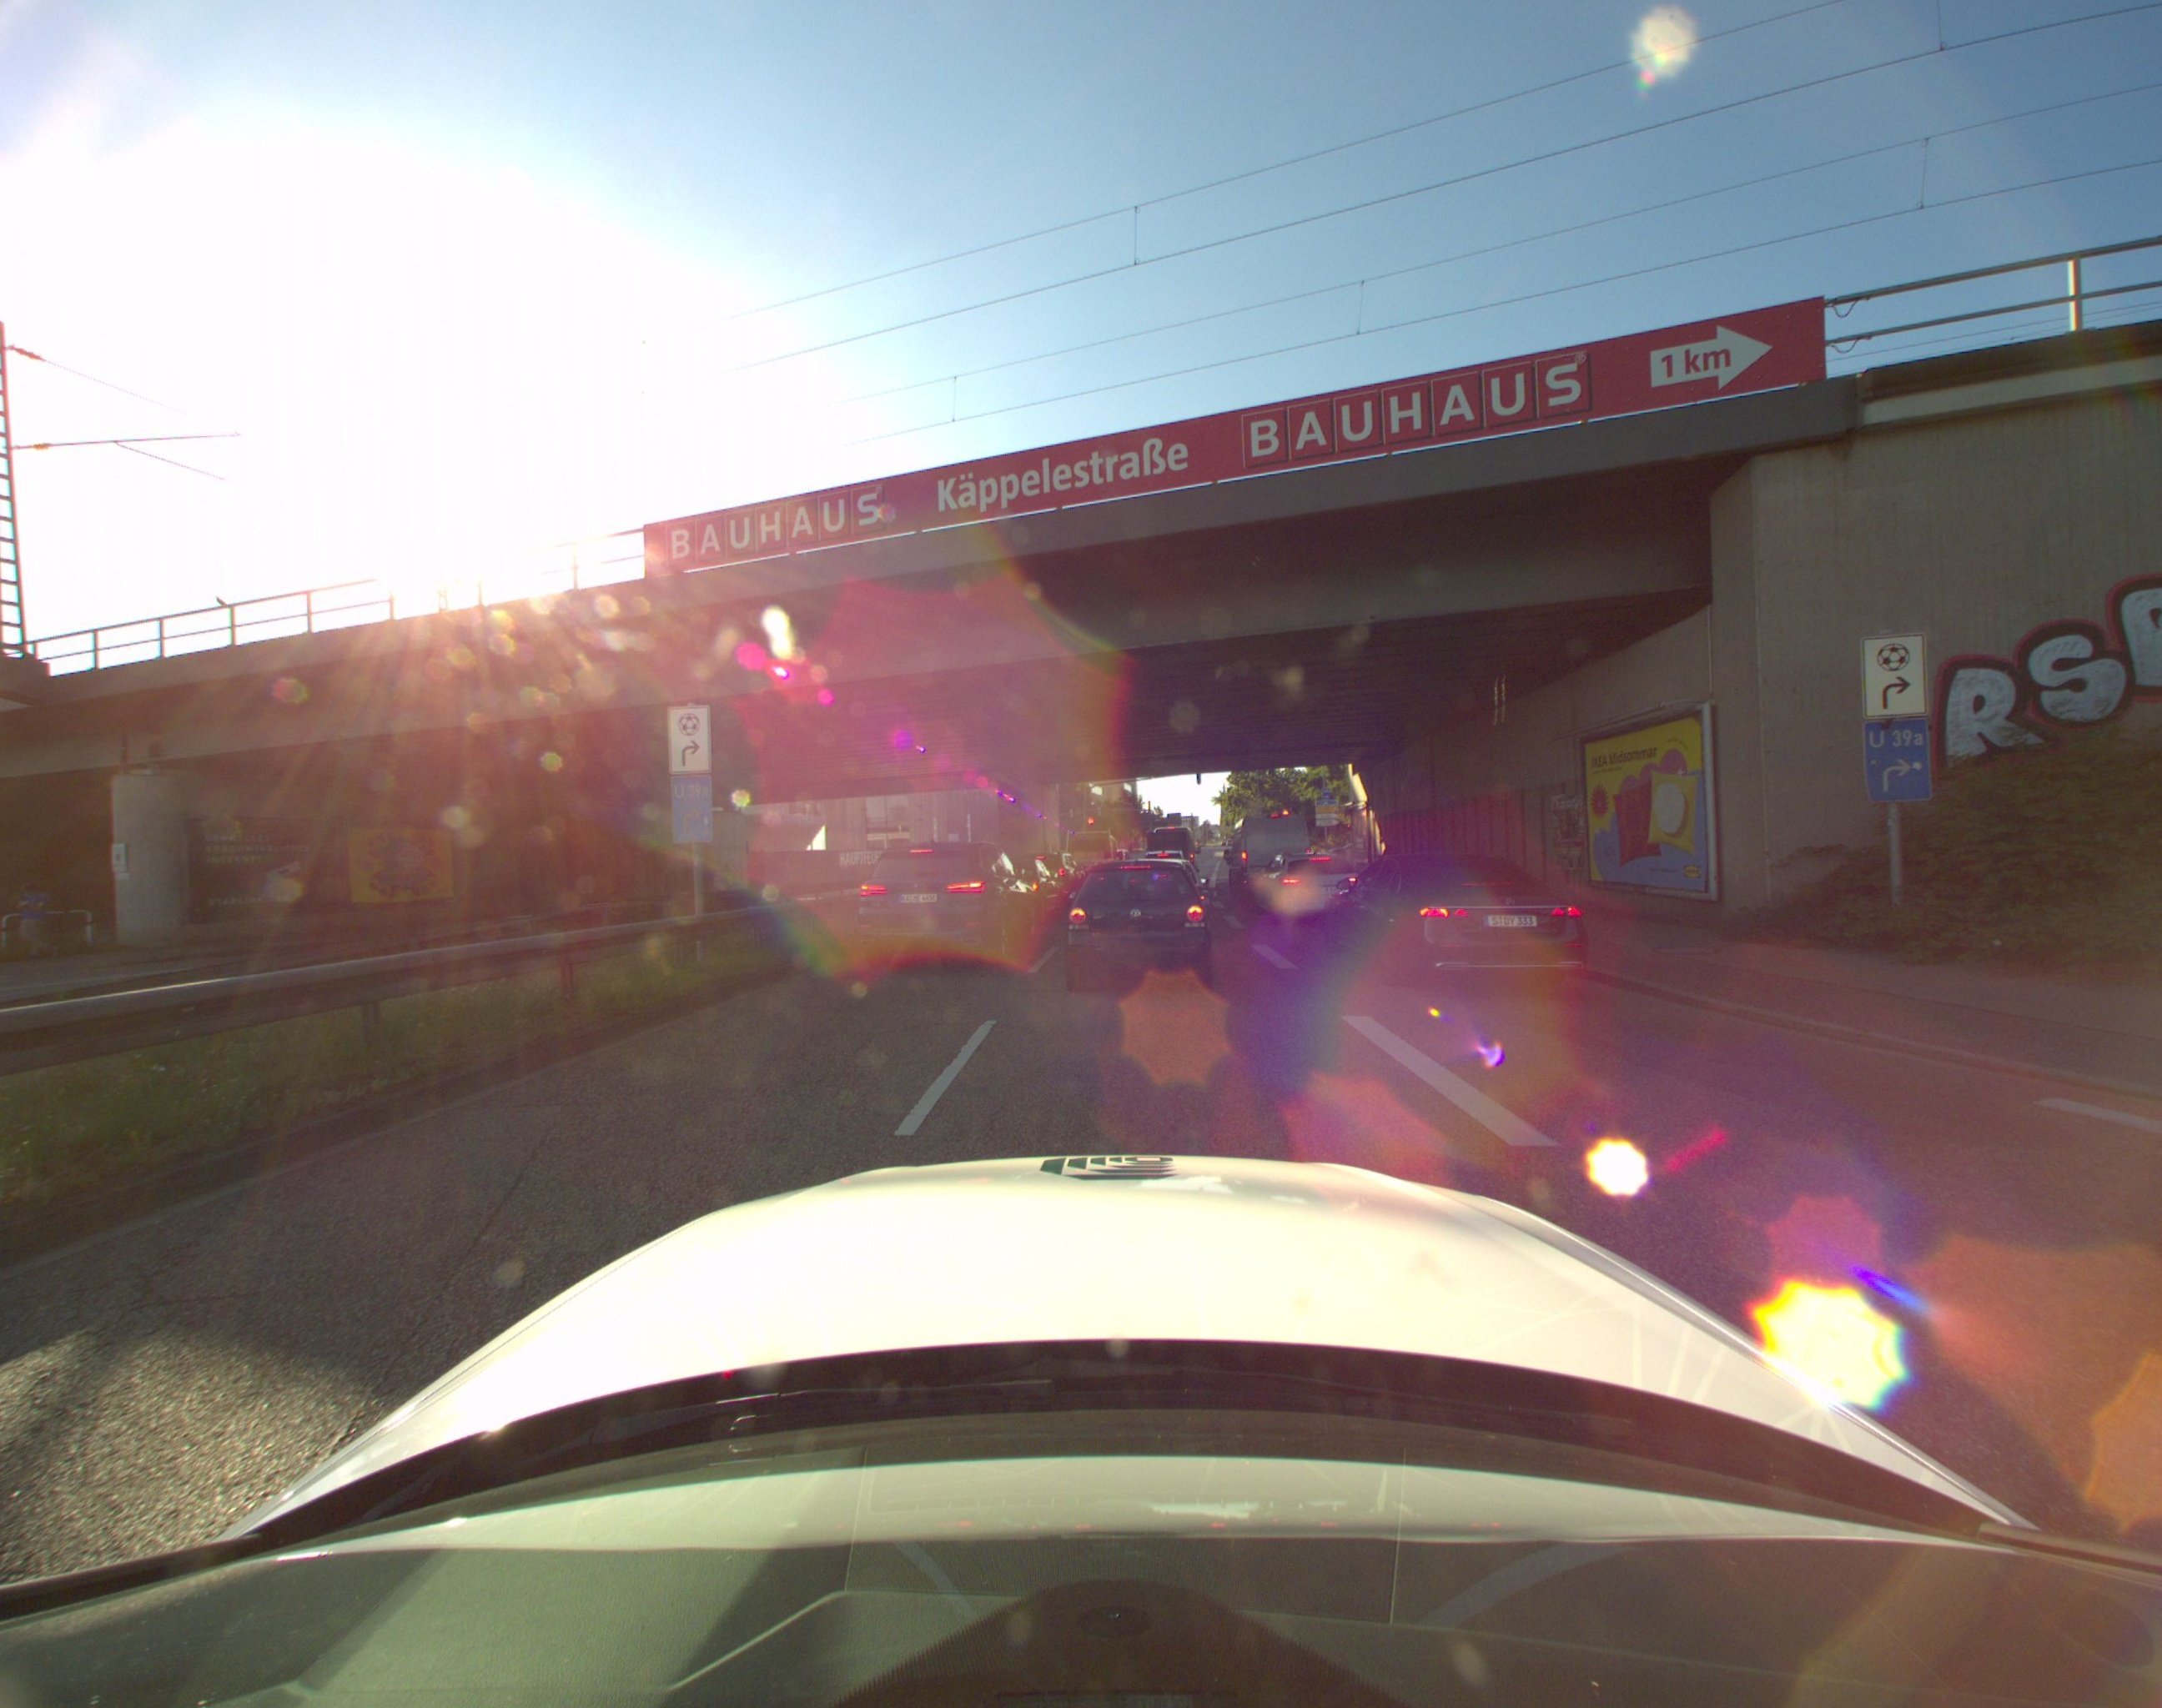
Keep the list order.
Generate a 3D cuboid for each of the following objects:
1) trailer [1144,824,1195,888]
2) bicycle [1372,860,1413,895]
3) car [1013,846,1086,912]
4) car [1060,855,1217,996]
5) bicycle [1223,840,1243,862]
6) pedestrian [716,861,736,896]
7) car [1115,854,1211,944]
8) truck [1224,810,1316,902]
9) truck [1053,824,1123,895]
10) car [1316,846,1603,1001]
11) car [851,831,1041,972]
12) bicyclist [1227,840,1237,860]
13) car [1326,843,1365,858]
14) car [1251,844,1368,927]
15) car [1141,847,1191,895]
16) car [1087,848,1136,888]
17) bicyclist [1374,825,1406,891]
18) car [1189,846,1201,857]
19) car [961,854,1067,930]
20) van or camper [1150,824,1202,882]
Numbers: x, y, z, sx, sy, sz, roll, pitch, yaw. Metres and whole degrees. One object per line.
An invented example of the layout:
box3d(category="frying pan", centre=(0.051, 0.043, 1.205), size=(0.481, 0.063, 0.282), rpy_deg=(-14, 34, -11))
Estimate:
box3d(category="trailer", centre=(3.797, 0.100, 34.568), size=(1.853, 2.465, 3.841), rpy_deg=(-3, -1, 8))
box3d(category="bicycle", centre=(9.298, 0.687, 24.427), size=(0.575, 0.963, 2.894), rpy_deg=(-2, -1, 10))
box3d(category="car", centre=(-0.887, 0.750, 25.168), size=(1.834, 1.719, 4.001), rpy_deg=(-5, -1, 2))
box3d(category="car", centre=(0.690, 0.768, 10.298), size=(1.575, 1.408, 3.834), rpy_deg=(-2, -1, 3))
box3d(category="bicycle", centre=(15.588, -0.293, 83.672), size=(1.867, 2.013, 0.572), rpy_deg=(-5, -1, 9))
box3d(category="pedestrian", centre=(-19.437, 1.329, 44.605), size=(0.690, 1.903, 0.666), rpy_deg=(-2, -1, 9))
box3d(category="car", centre=(1.552, 0.766, 15.432), size=(1.539, 1.423, 3.423), rpy_deg=(-3, 0, 6))
box3d(category="truck", centre=(5.772, 0.075, 25.460), size=(2.101, 2.519, 4.407), rpy_deg=(-4, -1, 5))
box3d(category="truck", centre=(0.390, 0.241, 32.661), size=(2.017, 2.557, 5.549), rpy_deg=(-2, -1, 8))
box3d(category="car", centre=(4.343, 0.656, 10.223), size=(1.732, 1.454, 4.611), rpy_deg=(-2, 1, 4))
box3d(category="car", centre=(-1.854, 0.644, 12.693), size=(1.821, 1.738, 4.467), rpy_deg=(-2, -1, 4))
box3d(category="bicyclist", centre=(15.511, -0.432, 83.683), size=(0.823, 2.013, 0.684), rpy_deg=(-5, -1, 9))
box3d(category="car", centre=(21.073, -0.268, 64.885), size=(2.805, 1.081, 1.222), rpy_deg=(-2, -1, 10))
box3d(category="car", centre=(4.777, 0.631, 17.562), size=(1.763, 1.495, 3.839), rpy_deg=(-3, -1, 6))
box3d(category="car", centre=(2.998, 0.587, 28.452), size=(1.573, 1.532, 3.839), rpy_deg=(-2, -1, 7))
box3d(category="car", centre=(1.627, 0.703, 42.033), size=(1.982, 1.901, 4.010), rpy_deg=(-2, -1, 9))
box3d(category="bicyclist", centre=(9.277, 0.124, 24.474), size=(0.678, 1.907, 0.835), rpy_deg=(-2, -1, 10))
box3d(category="car", centre=(15.145, -0.352, 108.239), size=(1.334, 1.281, 2.895), rpy_deg=(-5, -1, 3))
box3d(category="car", centre=(-1.461, 0.830, 19.154), size=(1.833, 1.440, 3.679), rpy_deg=(-5, -1, 4))
box3d(category="van or camper", centre=(4.748, -0.022, 39.942), size=(1.981, 2.570, 5.935), rpy_deg=(-2, -1, 11))
